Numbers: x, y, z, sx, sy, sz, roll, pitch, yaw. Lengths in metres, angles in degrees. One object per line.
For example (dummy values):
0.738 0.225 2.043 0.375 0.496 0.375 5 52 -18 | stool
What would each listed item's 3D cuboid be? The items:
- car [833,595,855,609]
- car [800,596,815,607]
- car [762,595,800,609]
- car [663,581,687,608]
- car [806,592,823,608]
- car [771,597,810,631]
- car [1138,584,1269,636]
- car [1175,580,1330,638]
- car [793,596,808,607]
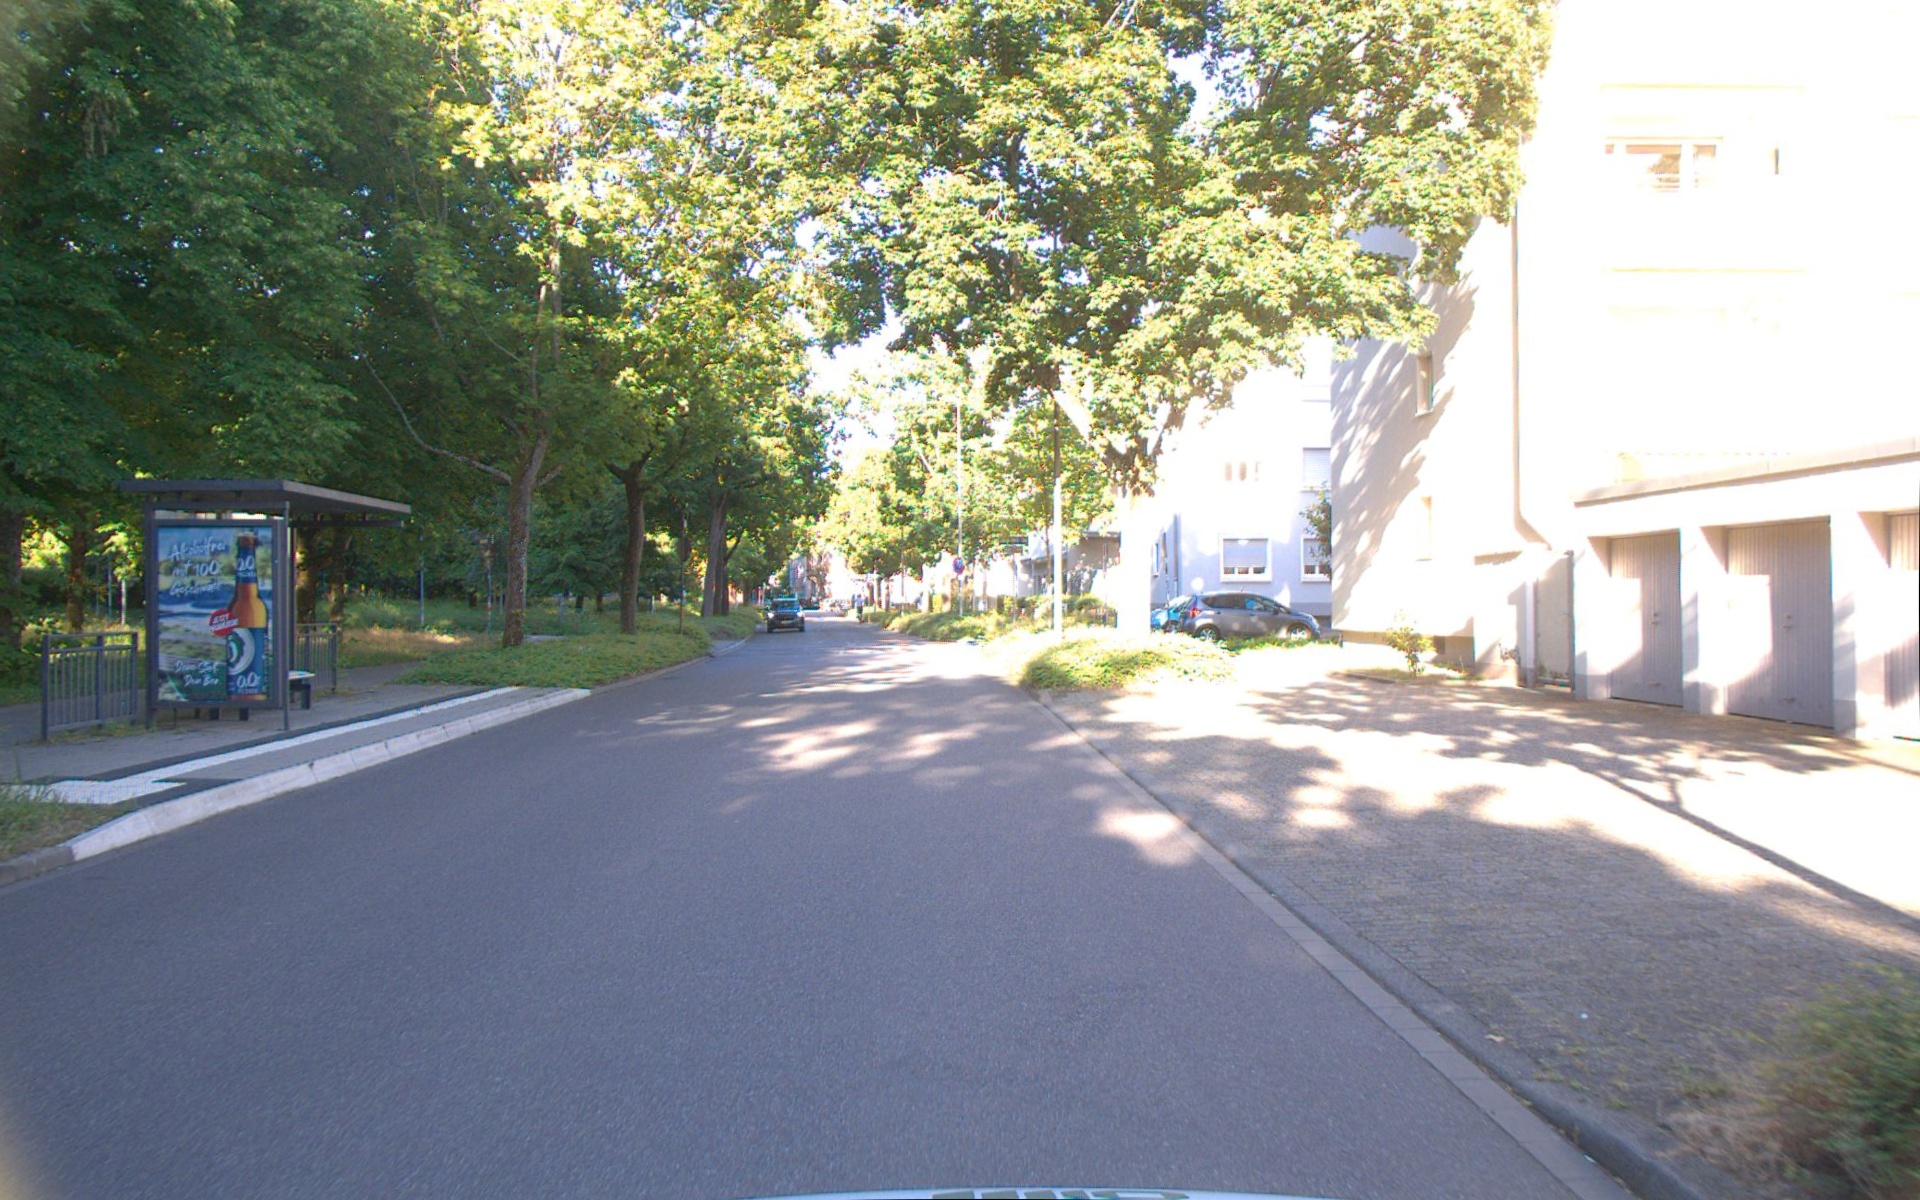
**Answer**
-13.087 0.255 186.494 1.780 1.527 3.986 -1 0 -13 | car
-20.553 0.184 222.665 1.778 1.527 3.991 1 0 -10 | car
-19.883 0.199 183.700 3.920 1.527 1.810 1 0 -14 | car
-27.802 -0.518 161.238 1.960 2.552 3.984 1 0 -15 | car
-18.878 -0.023 214.677 1.778 1.959 3.991 1 0 -10 | car
-8.195 0.647 80.265 1.808 1.606 4.331 0 0 -5 | car
7.908 0.313 53.935 3.911 1.609 1.807 0 1 -7 | car
8.158 0.269 46.245 3.962 1.541 1.725 1 -1 -6 | car
-22.076 0.189 229.060 1.778 1.527 3.991 1 0 -10 | car
